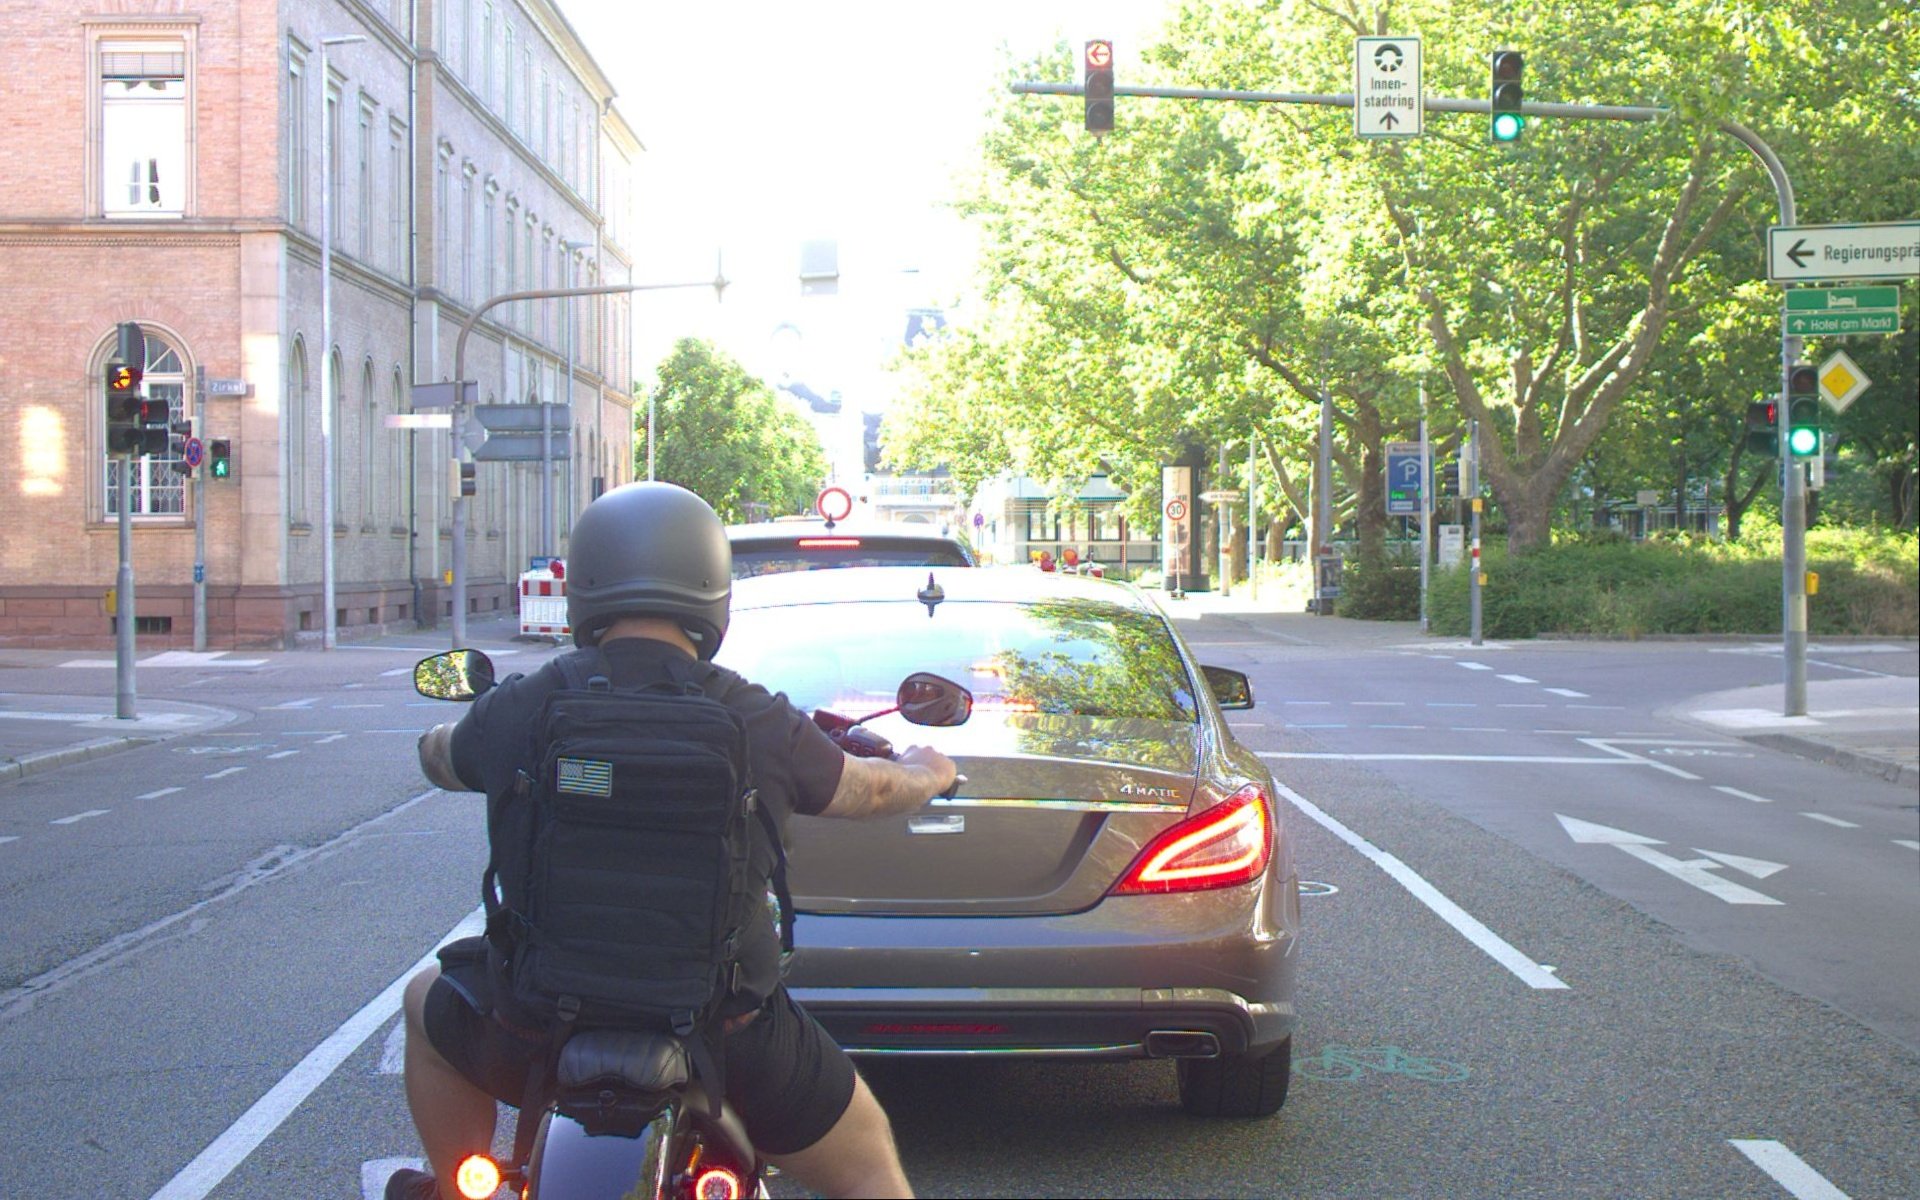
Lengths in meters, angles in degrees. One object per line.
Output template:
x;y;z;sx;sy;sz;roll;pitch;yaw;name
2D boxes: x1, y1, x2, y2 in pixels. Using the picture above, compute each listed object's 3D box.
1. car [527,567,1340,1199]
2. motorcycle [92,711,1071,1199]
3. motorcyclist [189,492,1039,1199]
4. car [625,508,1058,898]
-0.081;0.637;9.688;1.822;1.432;3.806;1;1;-1;car
-0.465;0.835;5.524;1.118;1.203;2.212;1;1;6;motorcycle
-0.479;0.632;5.300;1.099;1.560;1.071;1;0;6;motorcyclist
-0.540;0.429;16.966;1.863;1.672;4.000;1;1;-1;car
